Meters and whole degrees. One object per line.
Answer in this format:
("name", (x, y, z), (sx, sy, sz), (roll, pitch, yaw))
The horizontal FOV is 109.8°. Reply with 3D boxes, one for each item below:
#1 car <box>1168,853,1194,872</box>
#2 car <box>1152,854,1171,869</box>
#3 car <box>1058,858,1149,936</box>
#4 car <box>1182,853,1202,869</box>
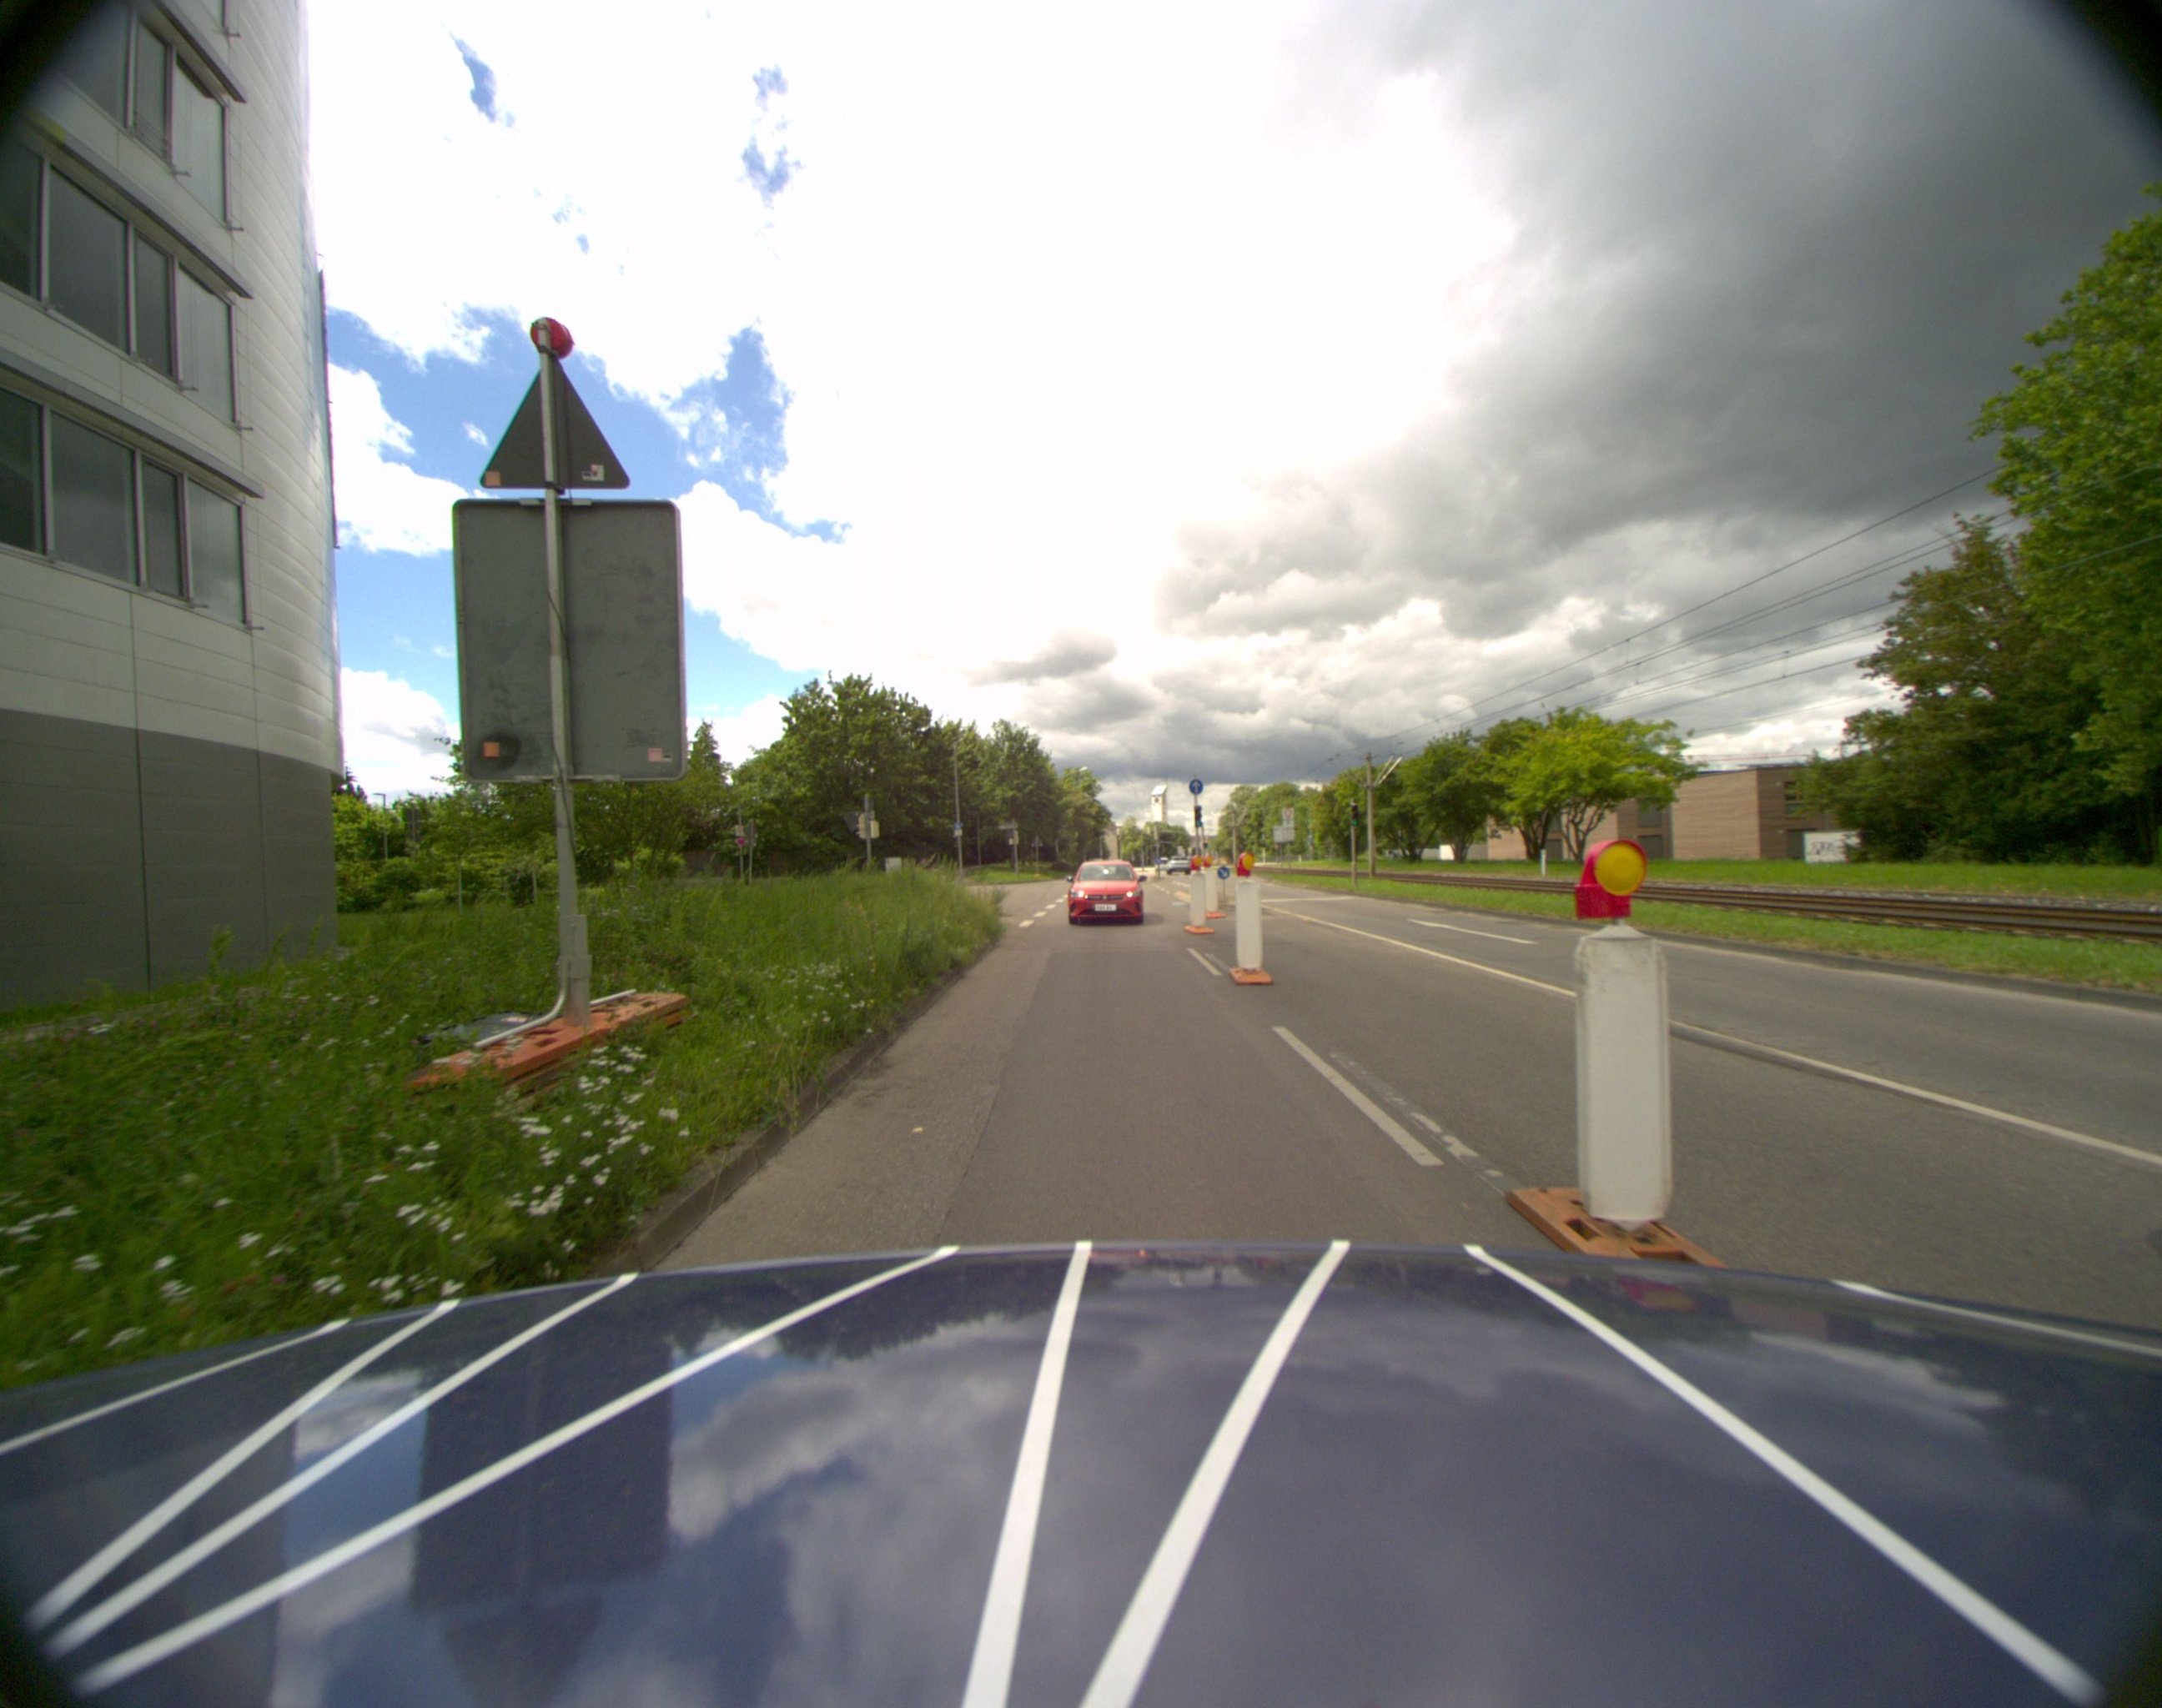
("car", (8.725, 0.715, 66.488), (1.864, 1.601, 4.608), (0, 0, 3))
("car", (9.503, 0.901, 90.212), (1.733, 1.603, 4.263), (-3, 1, 0))
("car", (0.572, 0.895, 17.871), (1.789, 1.453, 4.853), (-2, 0, 3))
("car", (12.904, 0.790, 88.653), (1.998, 1.650, 4.523), (-2, 0, 5))
